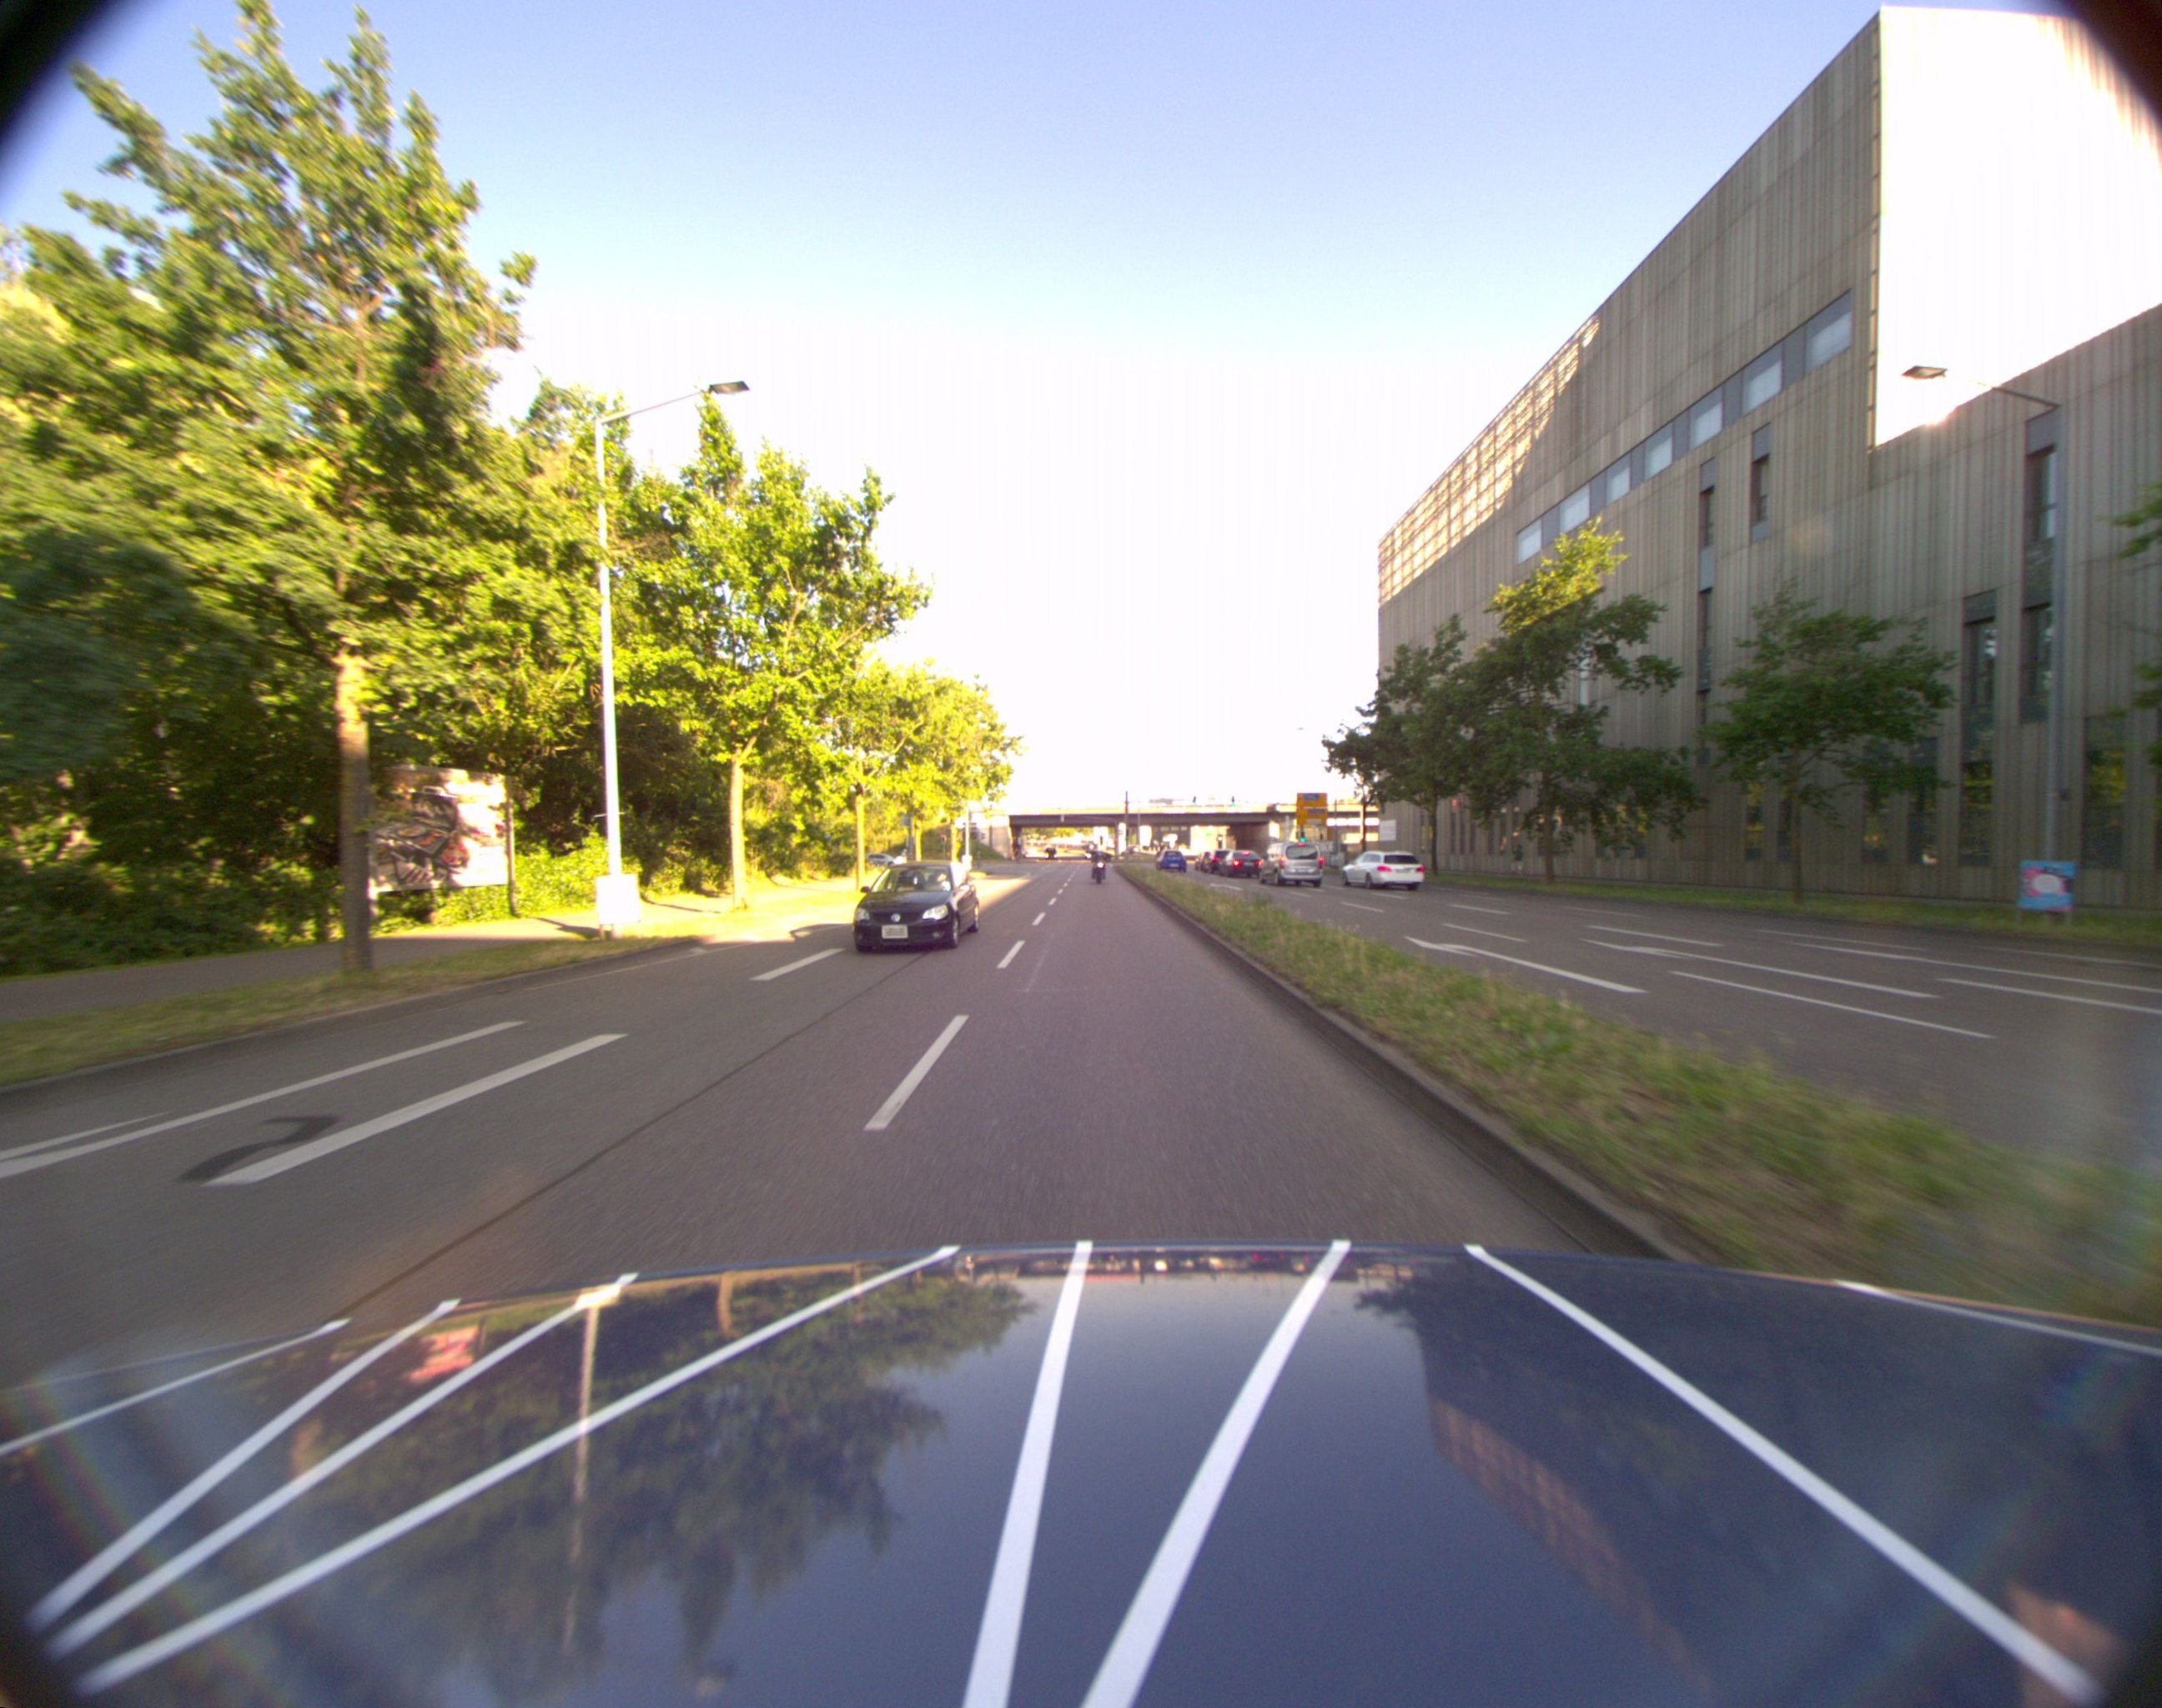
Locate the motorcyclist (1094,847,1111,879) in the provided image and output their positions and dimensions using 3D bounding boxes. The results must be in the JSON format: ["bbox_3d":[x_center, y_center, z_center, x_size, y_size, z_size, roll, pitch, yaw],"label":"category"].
[{"bbox_3d":[1.002,0.414,35.653,0.734,1.503,0.919,0,1,0],"label":"motorcyclist"}]

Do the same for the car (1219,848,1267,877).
[{"bbox_3d":[8.897,0.408,42.028,1.930,1.510,4.290,0,1,2],"label":"car"}]

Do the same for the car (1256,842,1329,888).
[{"bbox_3d":[8.854,0.392,32.216,1.998,1.805,4.401,0,1,2],"label":"car"}]

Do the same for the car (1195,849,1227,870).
[{"bbox_3d":[9.338,0.382,54.703,1.695,1.425,3.772,0,1,1],"label":"car"}]

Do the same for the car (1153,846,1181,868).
[{"bbox_3d":[6.682,0.210,59.304,1.930,1.596,4.000,0,1,2],"label":"car"}]

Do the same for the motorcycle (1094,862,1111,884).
[{"bbox_3d":[0.995,0.878,35.617,0.749,0.978,2.140,0,1,0],"label":"motorcycle"}]

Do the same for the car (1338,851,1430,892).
[{"bbox_3d":[12.098,0.631,30.675,1.850,1.464,4.815,1,1,1],"label":"car"}]

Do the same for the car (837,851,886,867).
[{"bbox_3d":[-21.856,0.477,75.910,4.285,1.510,1.932,0,1,5],"label":"car"}]

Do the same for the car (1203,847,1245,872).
[{"bbox_3d":[8.964,0.324,47.983,1.930,1.510,4.000,0,1,1],"label":"car"}]

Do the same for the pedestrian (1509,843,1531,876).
[{"bbox_3d":[21.594,0.257,37.395,0.698,1.619,0.725,0,1,1],"label":"pedestrian"}]

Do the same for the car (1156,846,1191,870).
[{"bbox_3d":[6.075,0.248,50.488,1.840,1.510,3.951,0,1,0],"label":"car"}]

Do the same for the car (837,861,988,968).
[{"bbox_3d":[-2.818,0.944,13.662,1.726,1.490,4.213,-2,0,0],"label":"car"}]

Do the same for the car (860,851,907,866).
[{"bbox_3d":[-20.499,0.469,78.881,4.285,1.510,1.932,0,1,5],"label":"car"}]
